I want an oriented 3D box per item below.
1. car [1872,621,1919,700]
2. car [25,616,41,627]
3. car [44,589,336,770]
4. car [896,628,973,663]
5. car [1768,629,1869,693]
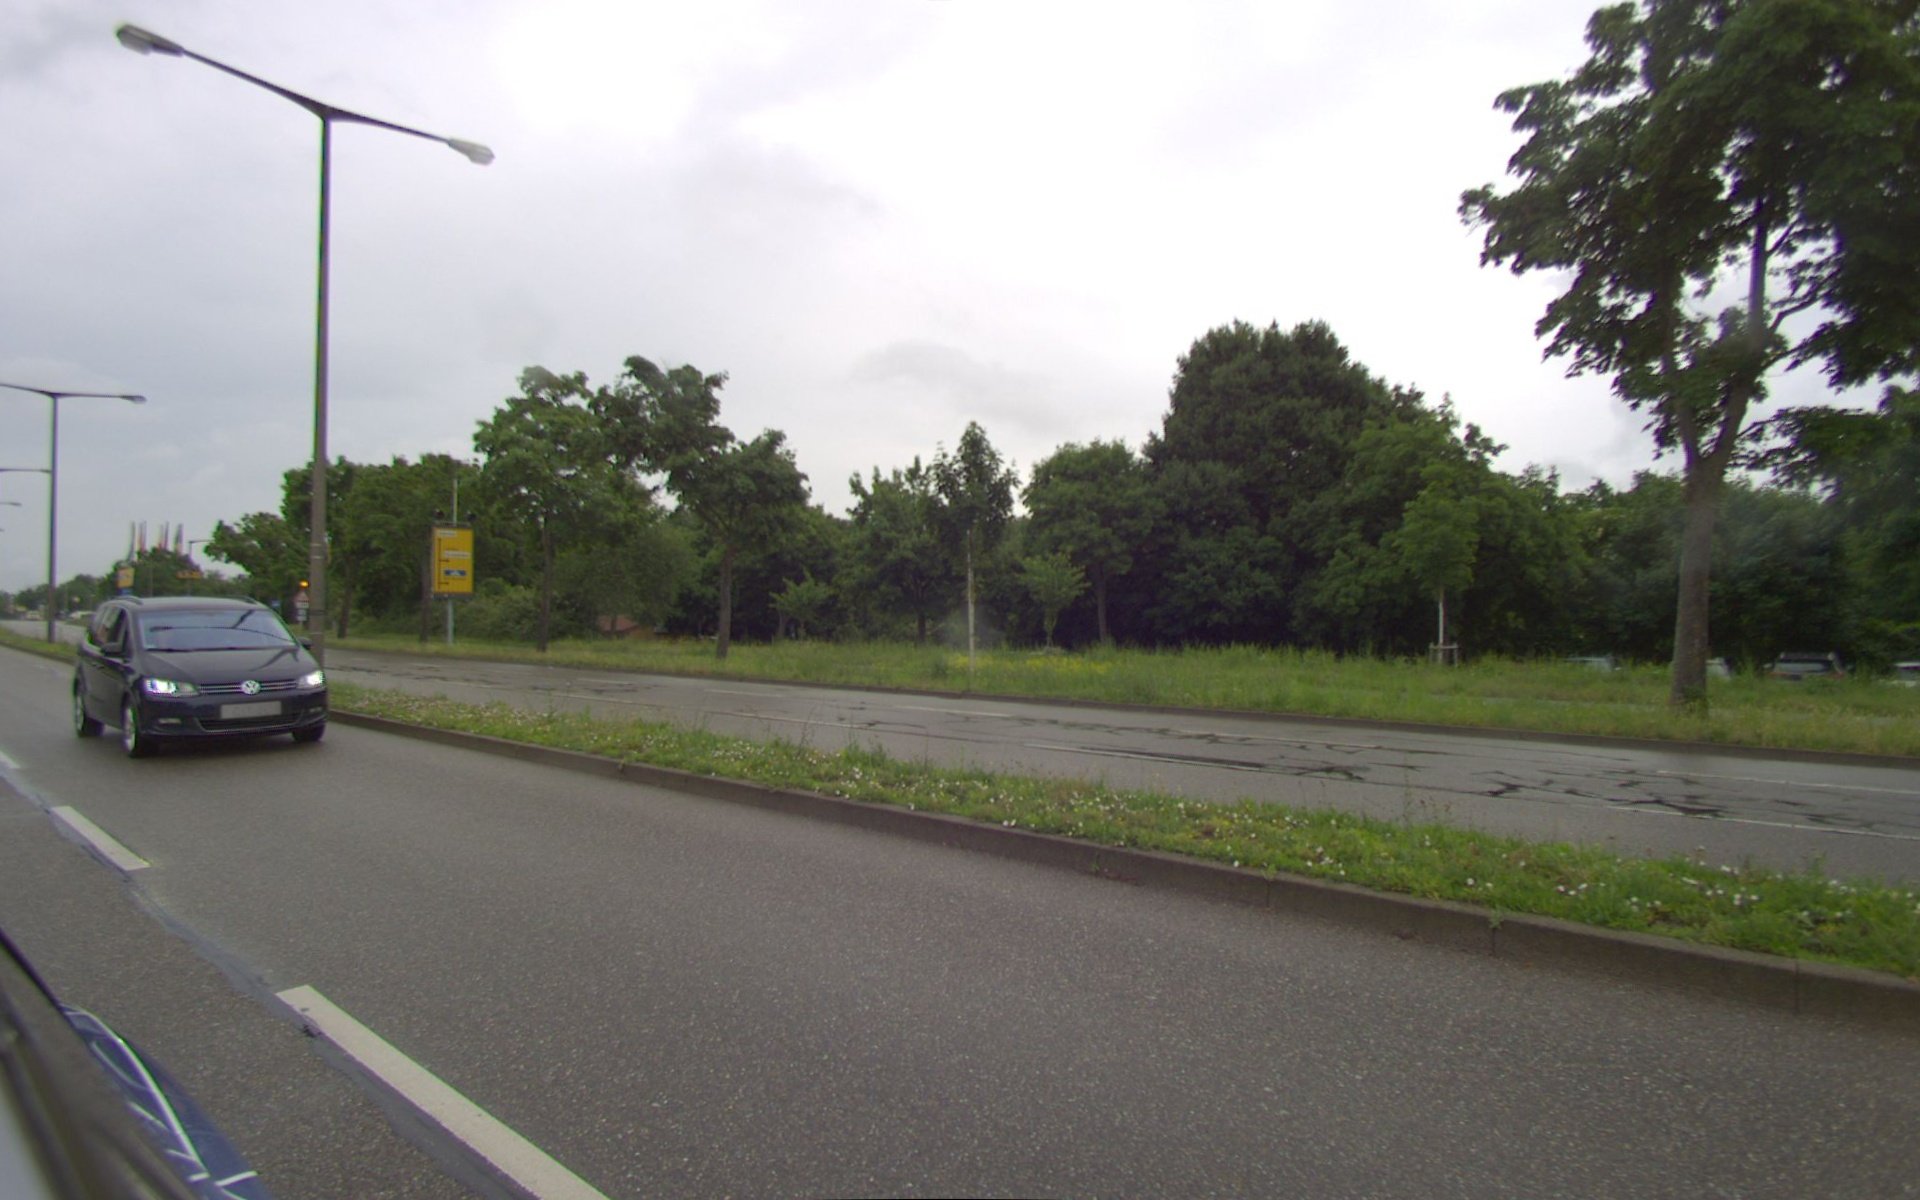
[{"bbox_3d":[26.018,1.579,27.032,1.996,2.029,3.951,-1,-2,36],"label":"car"},{"bbox_3d":[-159.699,3.739,174.369,4.492,1.642,1.688,-5,-7,43],"label":"car"},{"bbox_3d":[-9.367,0.818,12.145,4.814,1.764,1.827,-2,-1,41],"label":"car"},{"bbox_3d":[-1.253,2.278,51.405,1.996,1.698,3.951,-1,-2,36],"label":"car"},{"bbox_3d":[24.054,1.648,28.488,1.819,1.652,3.951,-1,-2,36],"label":"car"}]
